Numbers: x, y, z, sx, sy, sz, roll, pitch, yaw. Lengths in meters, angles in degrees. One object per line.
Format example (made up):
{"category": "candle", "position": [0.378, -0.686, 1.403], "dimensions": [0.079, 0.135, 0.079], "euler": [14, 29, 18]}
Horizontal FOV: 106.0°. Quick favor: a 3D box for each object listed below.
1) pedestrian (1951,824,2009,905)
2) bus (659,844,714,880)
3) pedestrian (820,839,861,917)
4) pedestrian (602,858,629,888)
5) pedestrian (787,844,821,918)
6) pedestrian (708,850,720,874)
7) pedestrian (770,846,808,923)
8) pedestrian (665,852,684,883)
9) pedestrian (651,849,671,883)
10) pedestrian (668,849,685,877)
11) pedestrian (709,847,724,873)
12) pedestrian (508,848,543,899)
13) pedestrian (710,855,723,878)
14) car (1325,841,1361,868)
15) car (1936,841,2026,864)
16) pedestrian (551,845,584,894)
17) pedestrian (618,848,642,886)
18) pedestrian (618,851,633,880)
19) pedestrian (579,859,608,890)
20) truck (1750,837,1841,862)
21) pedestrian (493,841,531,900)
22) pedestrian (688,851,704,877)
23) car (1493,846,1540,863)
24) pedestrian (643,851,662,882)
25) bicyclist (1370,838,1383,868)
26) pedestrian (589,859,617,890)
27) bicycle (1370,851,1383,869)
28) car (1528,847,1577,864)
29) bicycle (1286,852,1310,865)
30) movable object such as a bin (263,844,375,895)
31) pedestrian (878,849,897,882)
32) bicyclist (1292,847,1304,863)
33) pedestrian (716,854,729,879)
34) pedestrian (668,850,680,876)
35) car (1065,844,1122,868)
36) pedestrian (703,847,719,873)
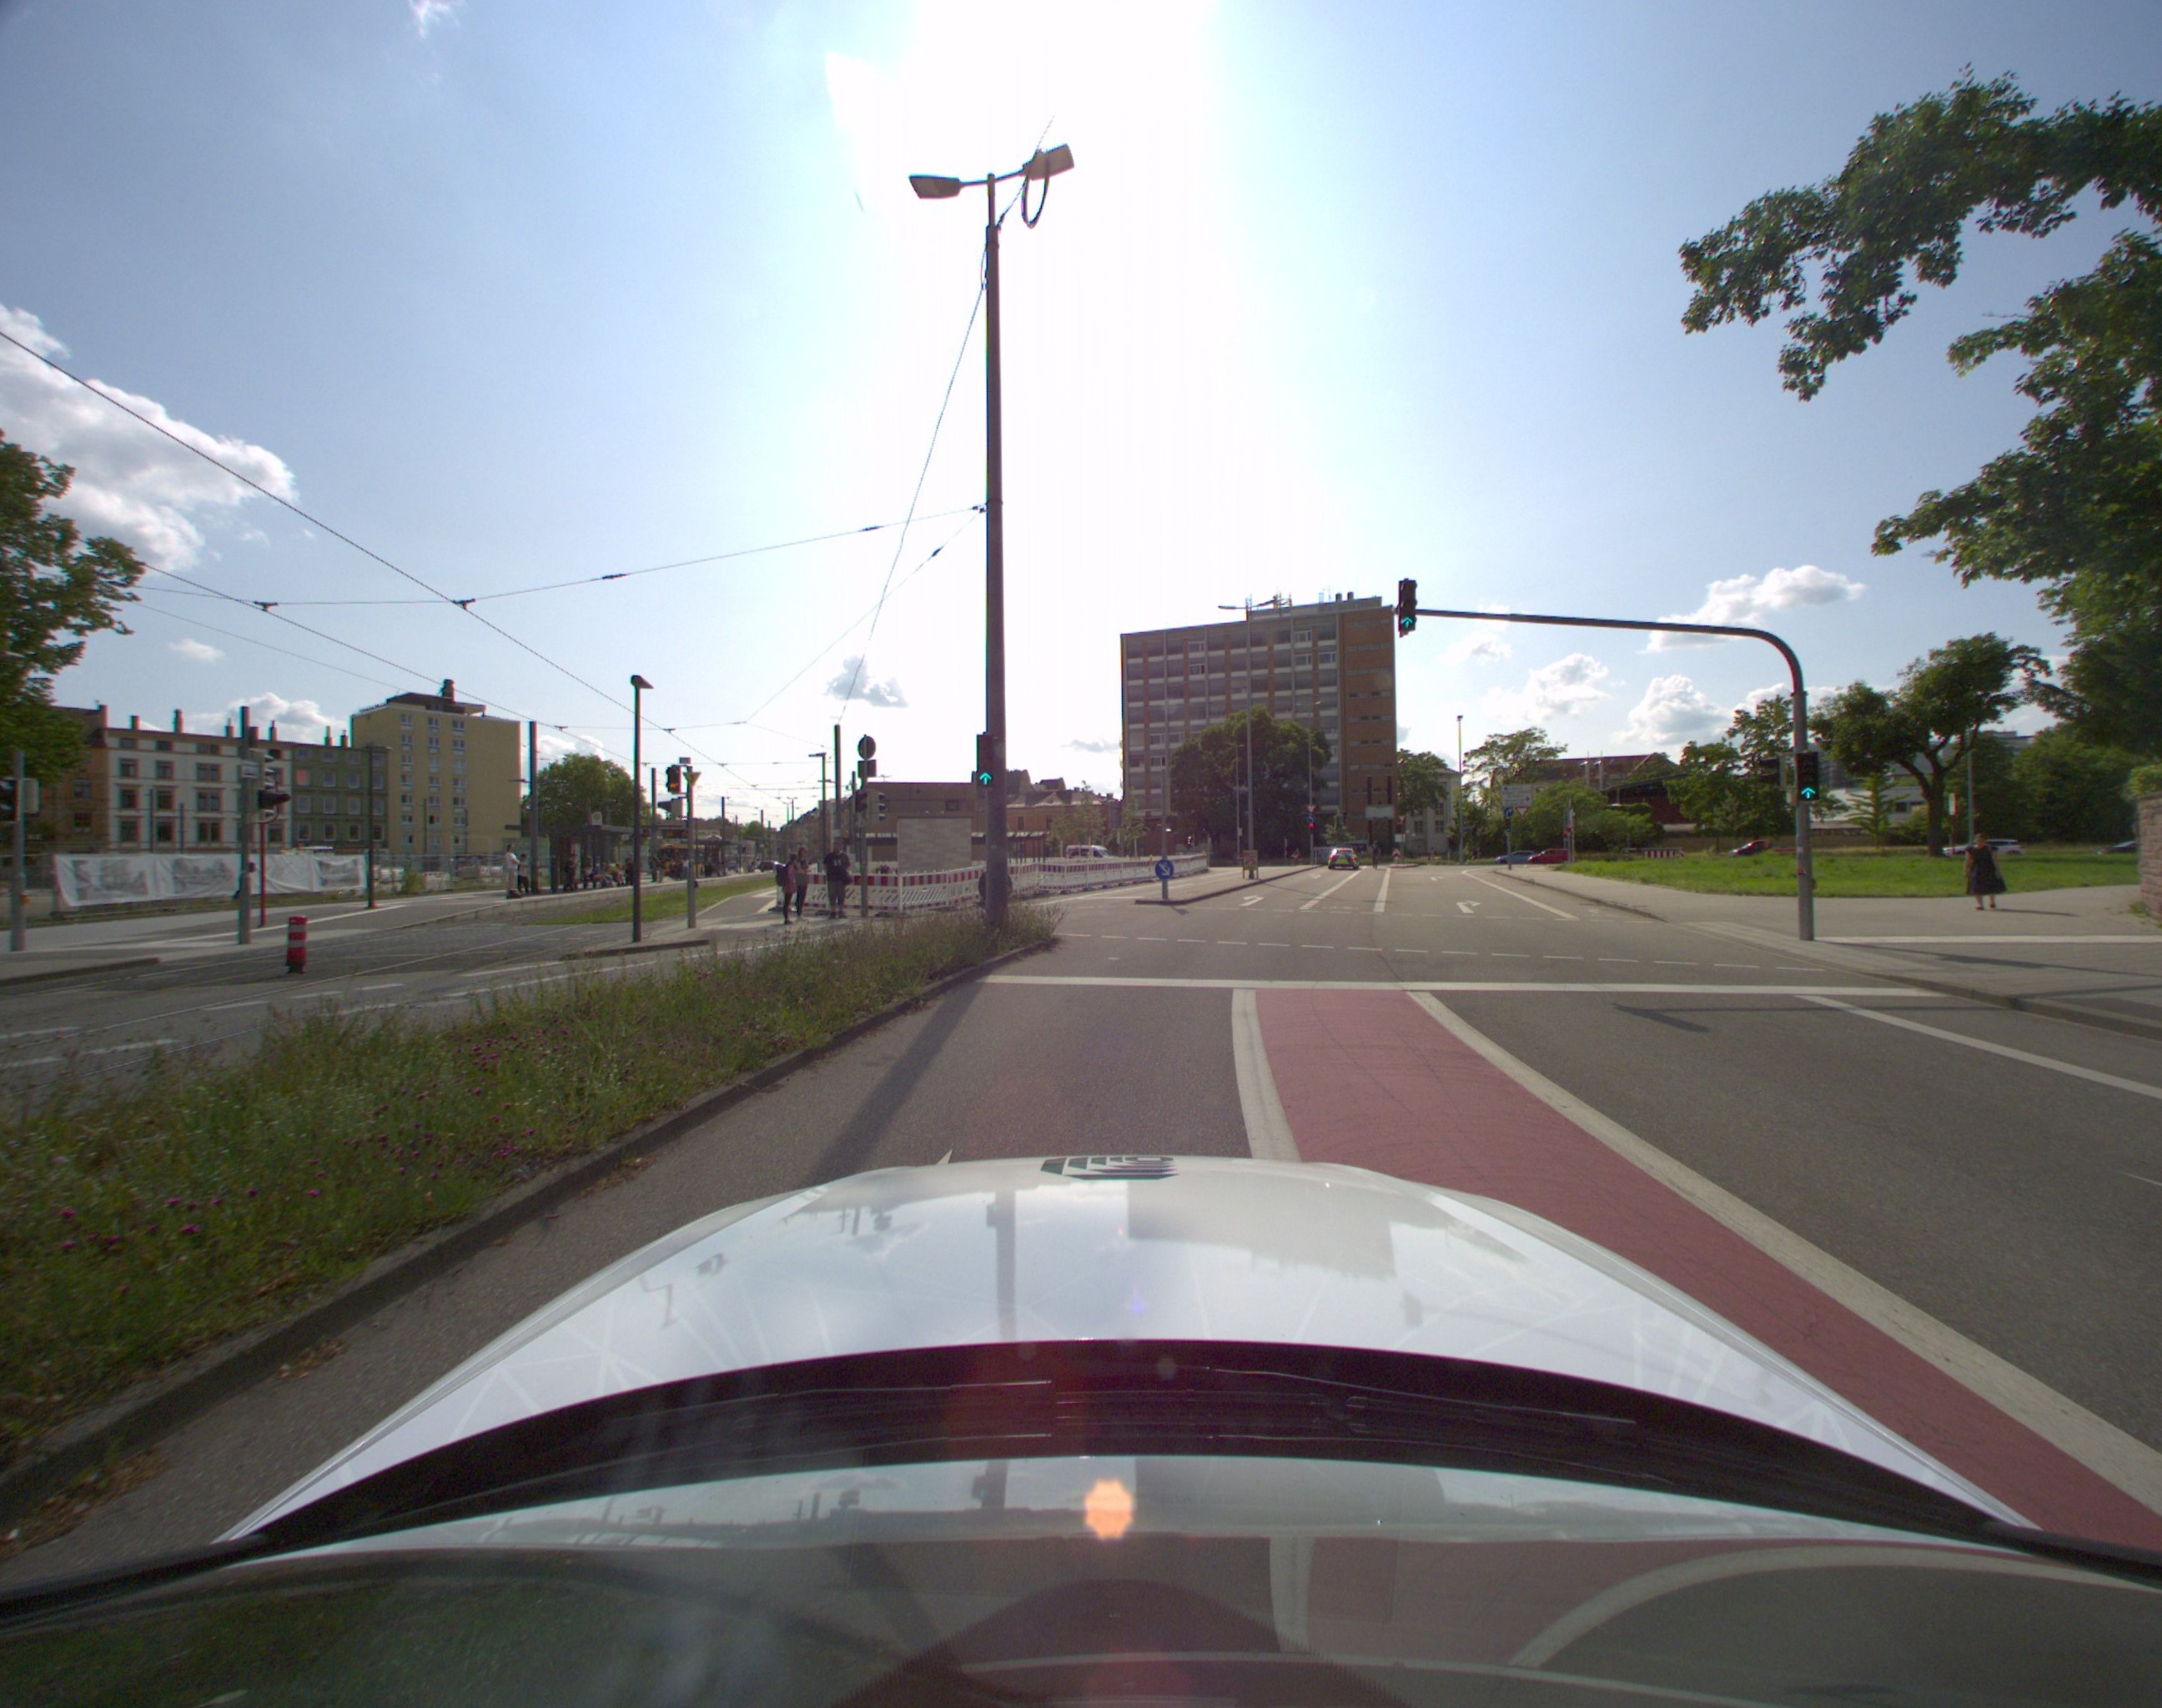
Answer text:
{"category": "pedestrian", "position": [18.937, 0.220, 17.159], "dimensions": [0.891, 1.639, 0.741], "euler": [0, -2, -41]}
{"category": "bus", "position": [-35.605, 0.715, 73.906], "dimensions": [2.426, 2.982, 10.491], "euler": [-1, 0, -14]}
{"category": "pedestrian", "position": [-5.963, 0.580, 20.179], "dimensions": [0.796, 1.885, 0.607], "euler": [-1, 0, -32]}
{"category": "pedestrian", "position": [-22.486, 0.919, 39.389], "dimensions": [0.941, 1.431, 0.728], "euler": [0, -1, -12]}
{"category": "pedestrian", "position": [-6.627, 0.636, 19.496], "dimensions": [0.405, 1.736, 0.625], "euler": [-1, 0, 25]}
{"category": "pedestrian", "position": [-30.138, 0.667, 66.856], "dimensions": [0.945, 2.014, 0.725], "euler": [0, -1, -25]}
{"category": "pedestrian", "position": [-6.614, 0.682, 18.479], "dimensions": [0.609, 1.706, 0.623], "euler": [-1, 0, 0]}
{"category": "pedestrian", "position": [-26.514, 0.853, 53.159], "dimensions": [0.949, 2.014, 0.722], "euler": [1, -1, -44]}
{"category": "pedestrian", "position": [-25.376, 0.700, 49.184], "dimensions": [0.948, 2.014, 0.722], "euler": [1, -1, -39]}
{"category": "pedestrian", "position": [-29.676, 0.673, 59.704], "dimensions": [0.948, 2.014, 0.722], "euler": [1, -1, -39]}
{"category": "pedestrian", "position": [-28.715, 0.494, 64.105], "dimensions": [0.948, 2.014, 0.722], "euler": [1, -1, -39]}
{"category": "pedestrian", "position": [-22.239, 0.761, 32.604], "dimensions": [0.941, 2.014, 0.728], "euler": [0, -1, -12]}
{"category": "pedestrian", "position": [-30.842, 1.055, 68.941], "dimensions": [0.945, 2.014, 0.725], "euler": [0, -1, -25]}
{"category": "car", "position": [17.776, 0.012, 55.205], "dimensions": [2.112, 1.684, 4.123], "euler": [1, 1, 21]}
{"category": "car", "position": [66.163, -0.084, 59.920], "dimensions": [4.114, 1.609, 1.635], "euler": [-1, -1, 24]}
{"category": "pedestrian", "position": [-21.482, 0.658, 34.084], "dimensions": [0.941, 2.014, 0.728], "euler": [0, -1, -12]}
{"category": "pedestrian", "position": [-23.739, 0.673, 42.883], "dimensions": [0.941, 2.014, 0.728], "euler": [0, -1, -12]}
{"category": "pedestrian", "position": [-31.738, 0.810, 56.778], "dimensions": [0.730, 2.014, 0.938], "euler": [0, -1, -17]}
{"category": "pedestrian", "position": [-22.402, 0.933, 37.445], "dimensions": [0.941, 1.431, 0.728], "euler": [0, -1, -12]}
{"category": "truck", "position": [56.584, -0.327, 64.594], "dimensions": [5.067, 1.838, 2.012], "euler": [-2, -1, 29]}
{"category": "pedestrian", "position": [-19.819, 0.569, 28.376], "dimensions": [0.815, 2.014, 0.796], "euler": [0, -1, -12]}
{"category": "pedestrian", "position": [-29.575, 0.748, 62.531], "dimensions": [0.948, 2.014, 0.722], "euler": [1, -1, -39]}
{"category": "car", "position": [40.706, 0.029, 76.118], "dimensions": [3.687, 1.456, 1.636], "euler": [-2, -1, 33]}
{"category": "pedestrian", "position": [-28.752, 0.833, 54.604], "dimensions": [0.949, 2.014, 0.722], "euler": [1, -1, -44]}
{"category": "bicyclist", "position": [19.983, -0.059, 55.067], "dimensions": [0.712, 1.973, 0.844], "euler": [-2, 0, 21]}
{"category": "pedestrian", "position": [-22.498, 0.943, 38.321], "dimensions": [0.941, 1.431, 0.728], "euler": [0, -1, -12]}
{"category": "bicycle", "position": [19.971, 0.397, 55.005], "dimensions": [0.714, 1.084, 2.202], "euler": [-2, 1, 21]}
{"category": "car", "position": [41.994, 0.145, 72.511], "dimensions": [3.687, 1.456, 1.636], "euler": [-2, -1, 33]}
{"category": "bicycle", "position": [19.901, 0.438, 74.767], "dimensions": [2.194, 1.084, 0.631], "euler": [-2, 1, -25]}
{"category": "movable object such as a bin", "position": [-40.868, 0.809, 43.833], "dimensions": [2.644, 2.574, 3.984], "euler": [-1, 0, -12]}
{"category": "pedestrian", "position": [-10.807, 0.653, 45.569], "dimensions": [0.936, 1.790, 1.171], "euler": [0, -1, -19]}
{"category": "bicyclist", "position": [19.928, 0.064, 74.786], "dimensions": [0.841, 1.470, 0.631], "euler": [-2, 1, -25]}
{"category": "pedestrian", "position": [-29.039, 1.012, 65.916], "dimensions": [0.945, 2.014, 0.725], "euler": [0, -1, -25]}
{"category": "pedestrian", "position": [-32.007, 0.703, 64.098], "dimensions": [0.734, 2.014, 0.934], "euler": [0, -1, -34]}
{"category": "car", "position": [1.248, 0.201, 83.410], "dimensions": [5.517, 2.319, 2.316], "euler": [-2, -1, 40]}
{"category": "pedestrian", "position": [-28.696, 0.483, 63.154], "dimensions": [0.948, 2.014, 0.722], "euler": [1, -1, -39]}
